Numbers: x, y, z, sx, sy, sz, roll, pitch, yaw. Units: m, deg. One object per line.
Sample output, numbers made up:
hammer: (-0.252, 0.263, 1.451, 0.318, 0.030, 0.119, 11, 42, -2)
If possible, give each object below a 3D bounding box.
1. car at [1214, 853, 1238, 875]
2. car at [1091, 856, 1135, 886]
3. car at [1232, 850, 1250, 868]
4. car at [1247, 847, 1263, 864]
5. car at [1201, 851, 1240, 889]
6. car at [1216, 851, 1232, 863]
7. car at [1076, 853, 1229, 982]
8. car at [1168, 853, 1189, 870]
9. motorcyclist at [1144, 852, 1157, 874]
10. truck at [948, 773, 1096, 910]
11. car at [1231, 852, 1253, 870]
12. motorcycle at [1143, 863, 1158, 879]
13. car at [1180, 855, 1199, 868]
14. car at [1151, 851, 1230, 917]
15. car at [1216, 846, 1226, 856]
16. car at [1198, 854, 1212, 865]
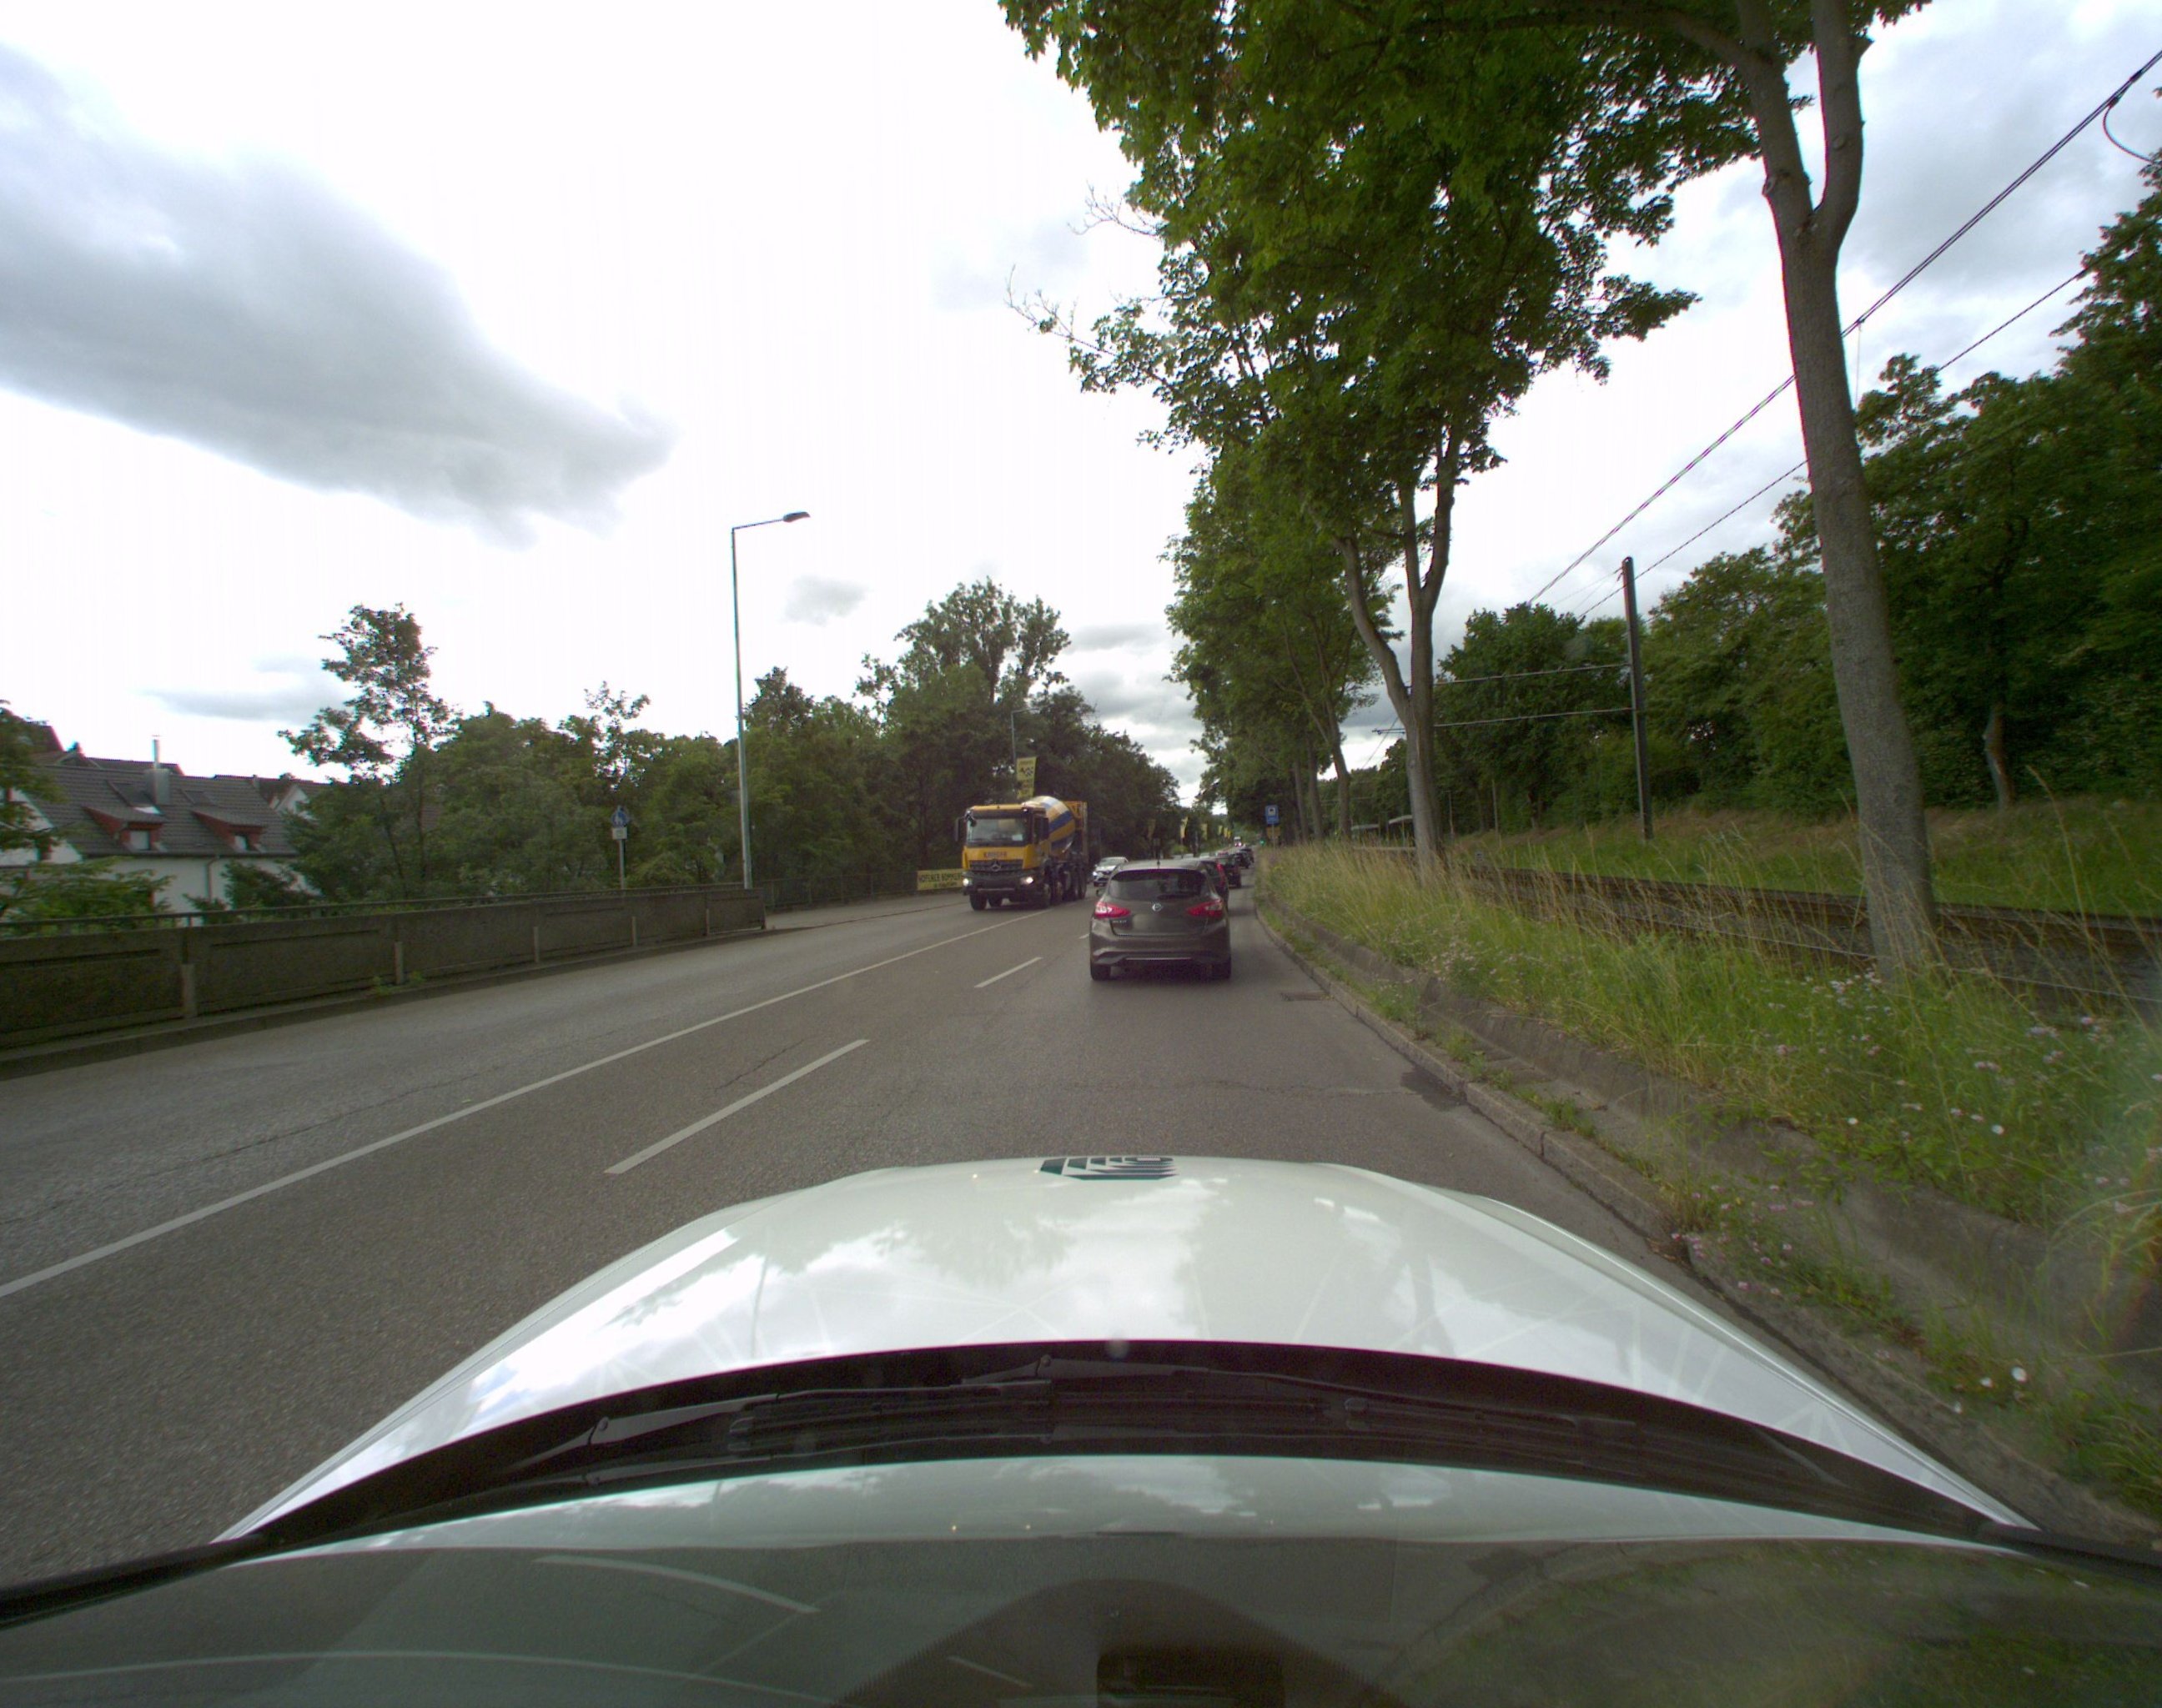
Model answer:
car: (10.113, 0.679, 56.751, 1.490, 1.364, 3.598, -4, -1, 12)
car: (1.788, 0.908, 44.254, 1.755, 1.479, 4.013, -2, 0, 11)
car: (16.803, 0.525, 85.194, 1.707, 1.693, 4.012, -3, -3, 11)
car: (22.028, 0.142, 102.918, 1.878, 2.014, 4.014, -3, -1, 13)
car: (6.214, 0.713, 36.568, 1.569, 1.538, 4.009, -3, -1, 8)
car: (19.390, 0.477, 110.261, 1.838, 1.486, 4.436, -3, -2, 13)
car: (1.072, 0.806, 11.581, 1.765, 1.494, 4.007, -1, -2, 7)
car: (9.874, 0.779, 82.179, 1.710, 1.442, 4.012, -3, -3, 12)
motorcyclist: (4.867, 0.644, 57.305, 0.739, 1.539, 0.793, -2, 0, 13)
truck: (-1.652, -0.343, 28.861, 2.638, 3.939, 10.140, -2, 0, 10)
car: (14.134, 0.618, 71.407, 1.792, 1.540, 4.013, -1, -1, 12)
motorcycle: (4.890, 1.169, 57.276, 0.739, 1.033, 1.895, -2, 0, 14)
car: (12.805, 0.863, 95.733, 1.805, 1.462, 4.014, -3, -1, 13)
car: (2.867, 0.785, 21.925, 1.884, 1.574, 4.005, -2, -2, 5)
car: (26.965, -0.593, 157.218, 1.707, 1.693, 3.737, -3, -3, 11)
car: (18.650, 0.862, 122.165, 1.741, 1.420, 4.012, -3, -3, 11)
